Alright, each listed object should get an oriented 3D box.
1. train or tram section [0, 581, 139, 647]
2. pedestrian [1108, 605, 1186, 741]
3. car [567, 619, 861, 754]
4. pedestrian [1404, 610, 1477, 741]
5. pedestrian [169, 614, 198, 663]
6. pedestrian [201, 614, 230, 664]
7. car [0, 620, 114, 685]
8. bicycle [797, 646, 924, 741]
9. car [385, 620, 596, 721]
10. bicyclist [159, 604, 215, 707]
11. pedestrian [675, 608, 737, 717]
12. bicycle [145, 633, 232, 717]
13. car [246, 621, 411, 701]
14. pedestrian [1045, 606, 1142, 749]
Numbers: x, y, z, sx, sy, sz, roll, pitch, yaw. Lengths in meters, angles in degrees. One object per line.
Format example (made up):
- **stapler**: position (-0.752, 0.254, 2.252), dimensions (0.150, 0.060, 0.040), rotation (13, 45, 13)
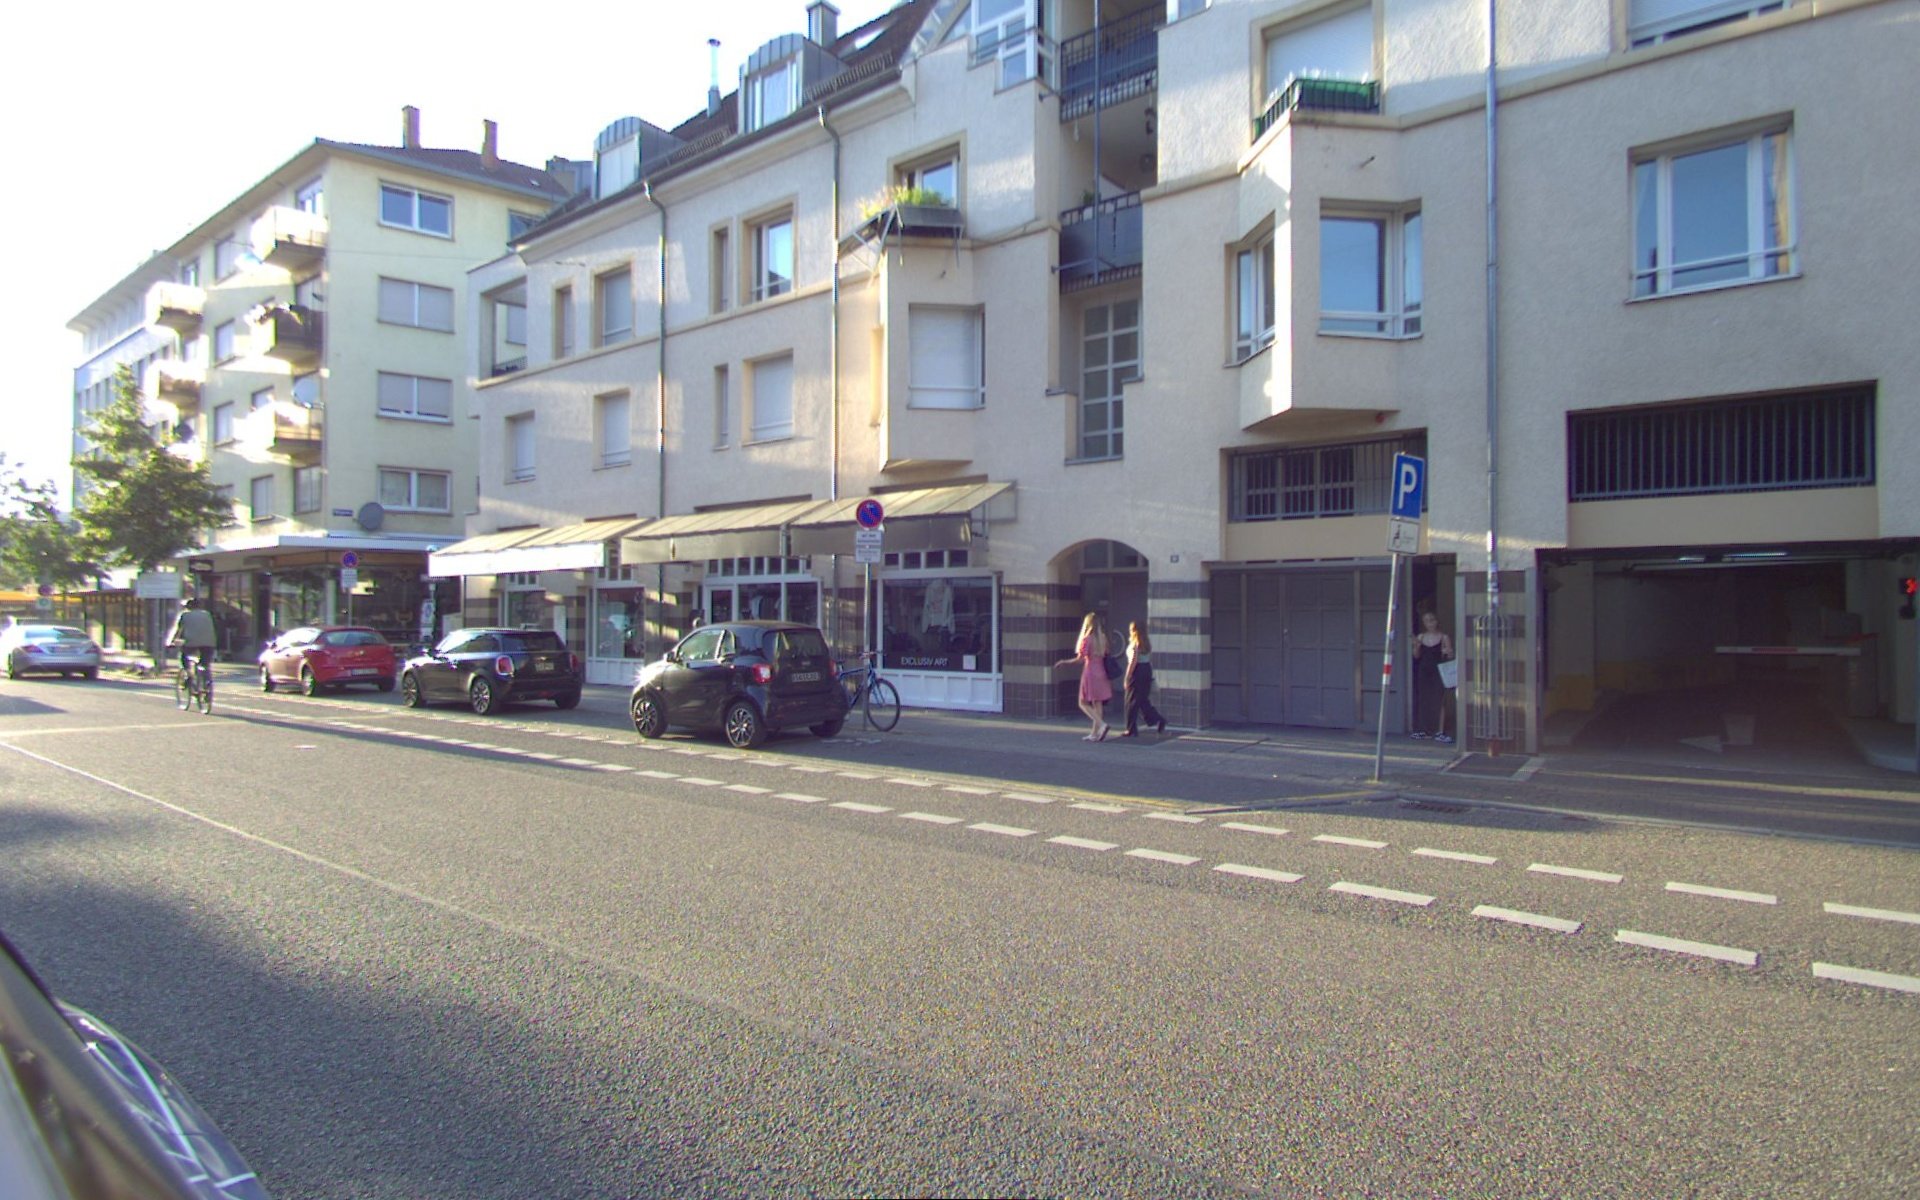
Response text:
- **train or tram section**: position (-57.043, 0.808, 61.823), dimensions (3.110, 3.839, 11.815), rotation (-1, 0, 8)
- **pedestrian**: position (2.445, 0.928, 13.232), dimensions (0.830, 1.713, 0.554), rotation (-1, -2, 38)
- **car**: position (-3.424, 1.063, 13.821), dimensions (3.959, 1.592, 1.773), rotation (-1, -2, 36)
- **pedestrian**: position (5.995, 0.918, 12.625), dimensions (0.775, 1.584, 0.528), rotation (-1, -2, 31)
- **pedestrian**: position (-28.770, 1.423, 37.512), dimensions (0.666, 1.805, 0.711), rotation (-1, -1, 39)
- **pedestrian**: position (-26.910, 1.399, 36.574), dimensions (0.666, 1.805, 0.711), rotation (-1, -1, 39)
- **car**: position (-24.720, 1.372, 27.284), dimensions (4.397, 1.617, 1.975), rotation (-1, -3, 37)
- **bicycle**: position (-1.418, 1.269, 14.169), dimensions (1.976, 1.215, 0.552), rotation (-1, -2, 41)
- **car**: position (-8.298, 1.159, 17.811), dimensions (3.780, 1.592, 1.773), rotation (-1, -2, 36)
- **bicyclist**: position (-12.336, 0.864, 16.150), dimensions (0.802, 1.593, 0.541), rotation (-1, -2, 41)
- **pedestrian**: position (-4.201, 1.013, 16.745), dimensions (0.737, 1.747, 0.711), rotation (-1, -1, 38)
- **bicycle**: position (-12.414, 1.175, 16.250), dimensions (2.129, 1.252, 0.656), rotation (-1, -4, 41)
- **car**: position (-13.765, 1.260, 22.006), dimensions (3.780, 1.592, 1.773), rotation (-1, -2, 36)
- **pedestrian**: position (1.681, 0.942, 12.752), dimensions (1.039, 1.713, 0.624), rotation (-1, -2, 38)
